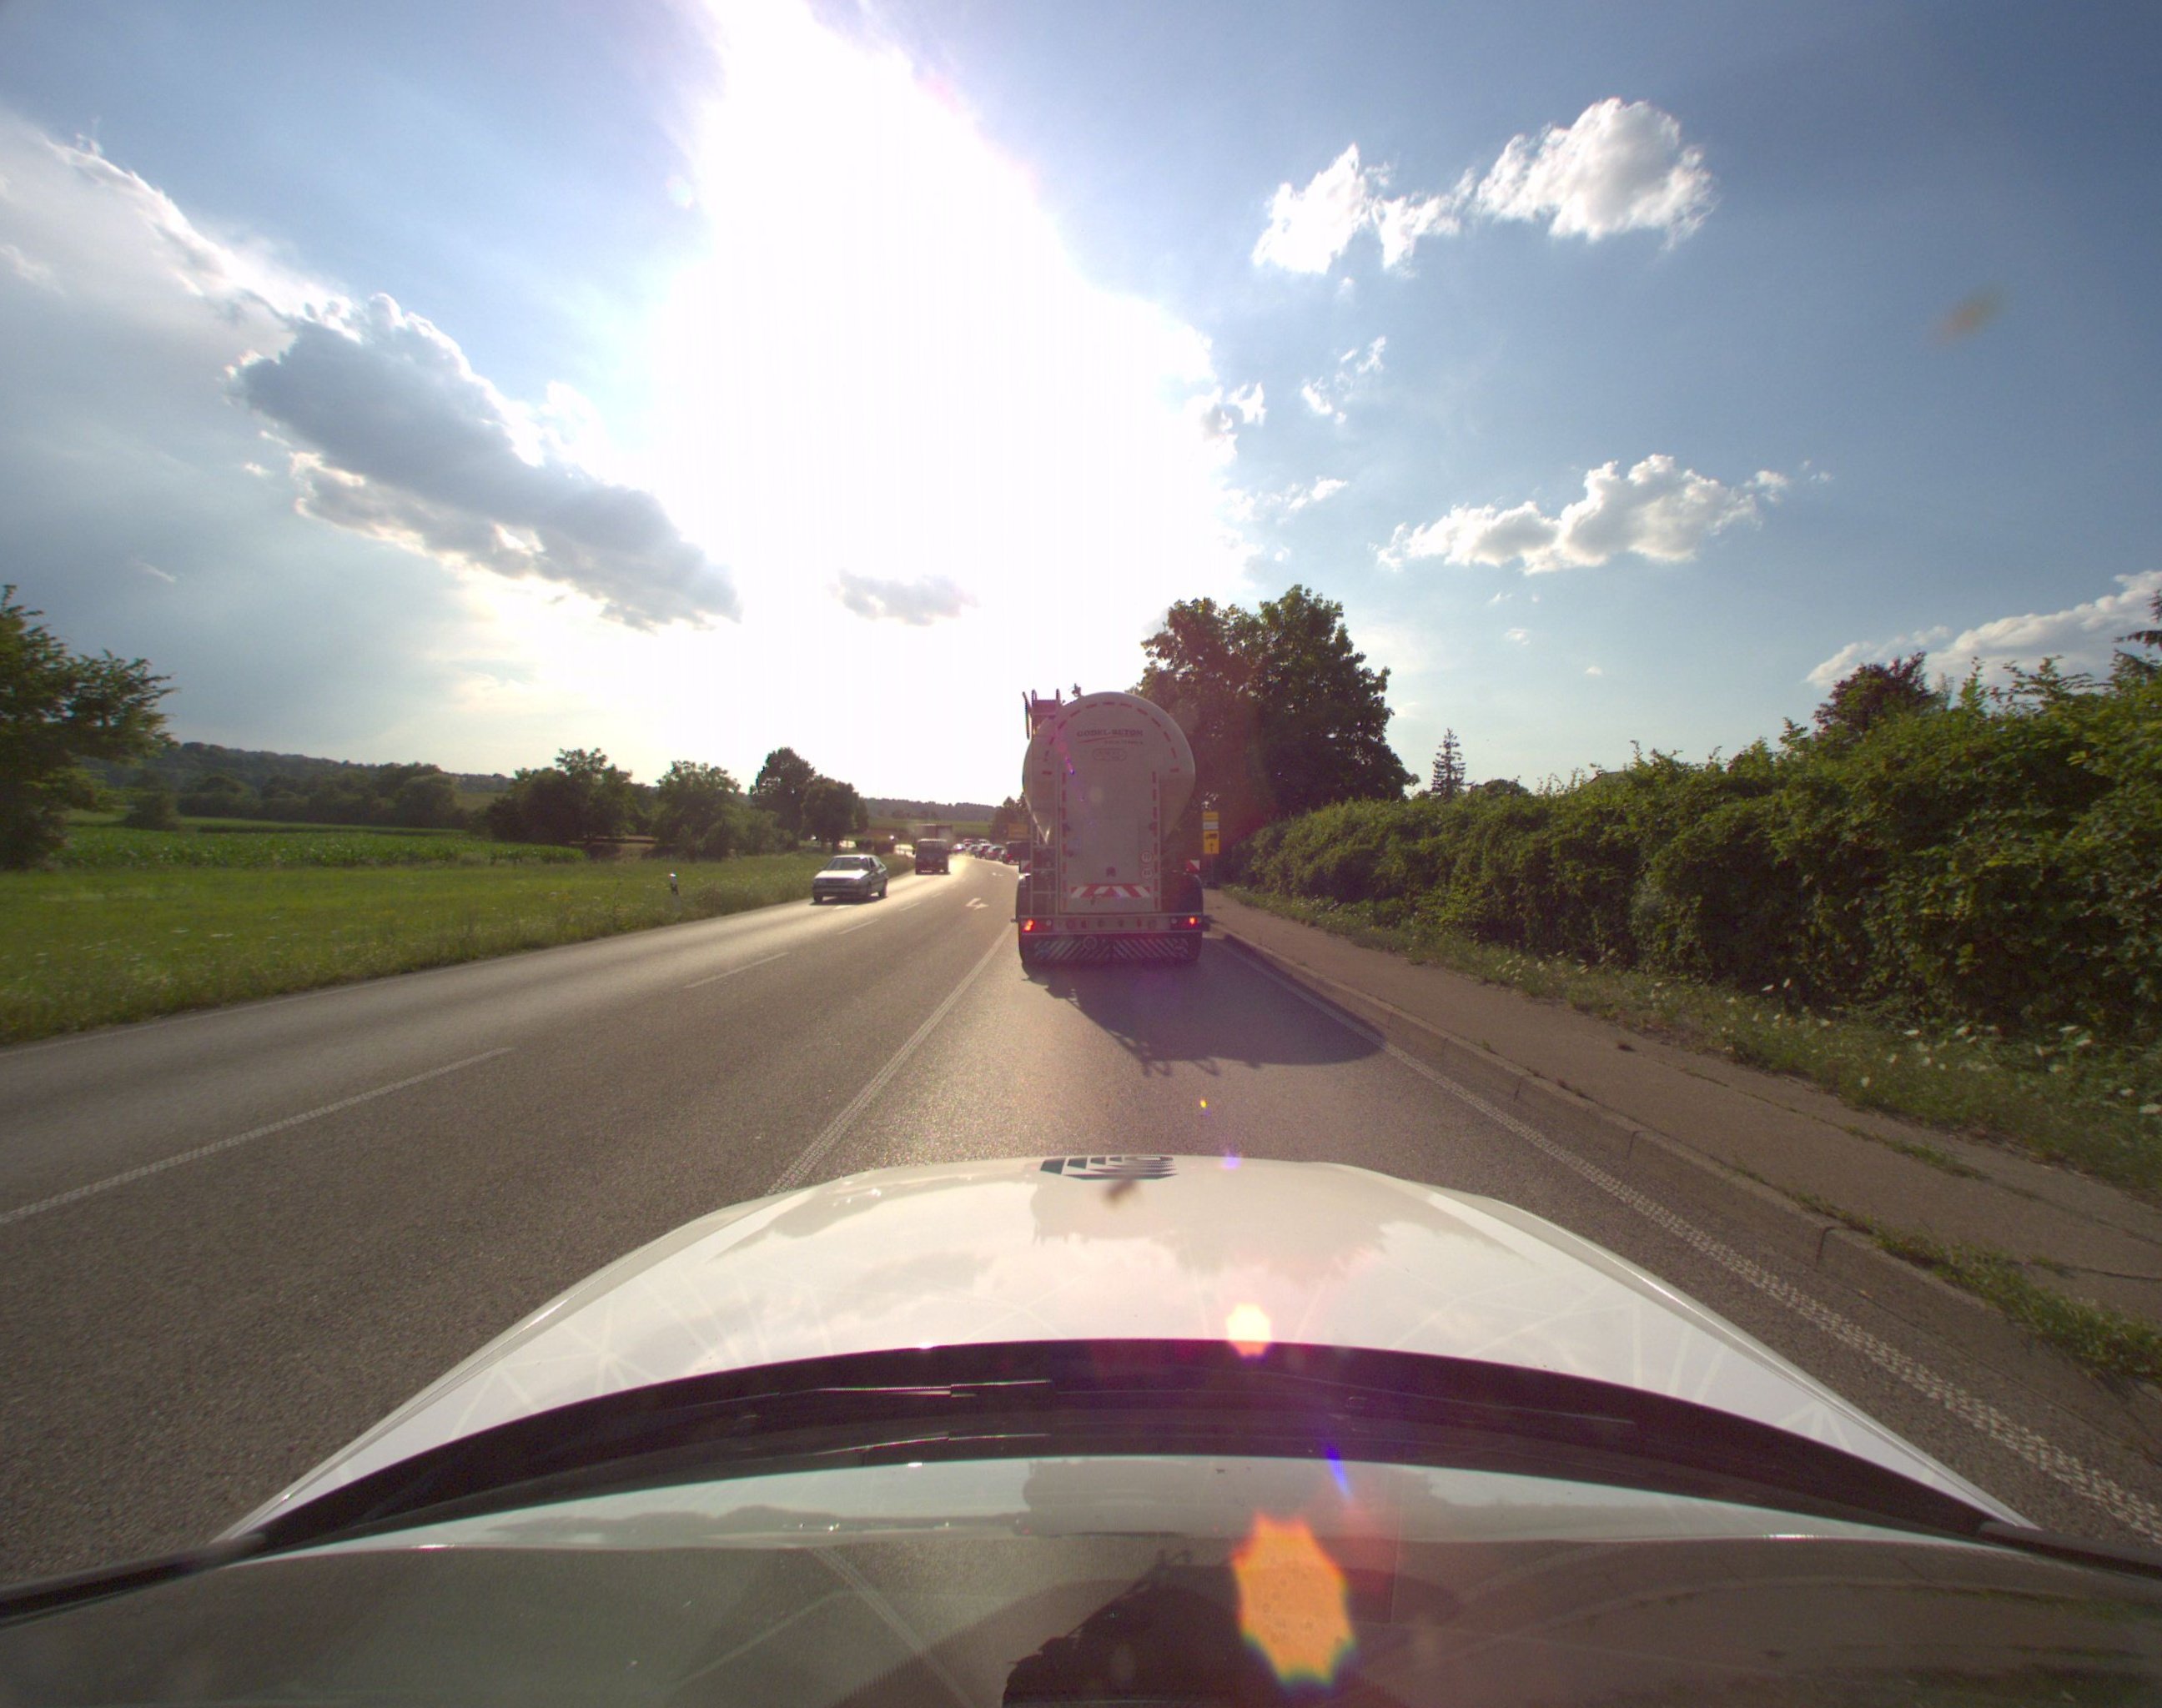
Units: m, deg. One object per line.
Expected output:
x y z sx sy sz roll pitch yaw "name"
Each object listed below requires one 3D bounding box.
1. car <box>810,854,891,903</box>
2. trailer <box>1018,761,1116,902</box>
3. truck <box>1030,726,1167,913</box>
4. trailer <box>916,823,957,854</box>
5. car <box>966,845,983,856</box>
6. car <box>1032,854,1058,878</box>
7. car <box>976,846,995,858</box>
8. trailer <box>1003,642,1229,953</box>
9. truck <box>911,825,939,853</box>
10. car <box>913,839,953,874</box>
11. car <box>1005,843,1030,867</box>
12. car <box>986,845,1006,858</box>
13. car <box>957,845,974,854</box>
-7.316 0.717 26.223 1.703 1.428 4.172 0 0 -4 "car"
-0.312 -0.729 32.121 2.944 4.315 14.177 1 0 1 "trailer"
0.356 -0.752 19.533 2.901 4.006 4.058 -1 0 -1 "truck"
-22.373 -2.336 125.256 3.389 4.350 14.187 1 0 -22 "trailer"
-13.309 -0.424 101.447 1.584 1.340 3.406 1 0 -17 "car"
-2.208 0.722 49.966 1.576 1.340 3.422 1 0 -3 "car"
-10.971 -0.195 93.468 1.584 1.340 3.406 1 0 -17 "car"
0.402 -0.756 15.509 2.901 4.006 9.926 -1 0 -1 "trailer"
-25.506 -2.435 132.948 3.389 4.350 5.663 1 0 -22 "truck"
-9.336 0.161 51.730 1.994 2.136 4.772 0 0 -4 "car"
-5.691 0.075 72.901 1.862 2.013 3.706 -1 0 -10 "car"
-9.108 -0.264 87.090 1.584 1.340 3.406 1 0 -17 "car"
-15.261 -0.633 107.819 1.773 1.206 3.406 1 0 -17 "car"
